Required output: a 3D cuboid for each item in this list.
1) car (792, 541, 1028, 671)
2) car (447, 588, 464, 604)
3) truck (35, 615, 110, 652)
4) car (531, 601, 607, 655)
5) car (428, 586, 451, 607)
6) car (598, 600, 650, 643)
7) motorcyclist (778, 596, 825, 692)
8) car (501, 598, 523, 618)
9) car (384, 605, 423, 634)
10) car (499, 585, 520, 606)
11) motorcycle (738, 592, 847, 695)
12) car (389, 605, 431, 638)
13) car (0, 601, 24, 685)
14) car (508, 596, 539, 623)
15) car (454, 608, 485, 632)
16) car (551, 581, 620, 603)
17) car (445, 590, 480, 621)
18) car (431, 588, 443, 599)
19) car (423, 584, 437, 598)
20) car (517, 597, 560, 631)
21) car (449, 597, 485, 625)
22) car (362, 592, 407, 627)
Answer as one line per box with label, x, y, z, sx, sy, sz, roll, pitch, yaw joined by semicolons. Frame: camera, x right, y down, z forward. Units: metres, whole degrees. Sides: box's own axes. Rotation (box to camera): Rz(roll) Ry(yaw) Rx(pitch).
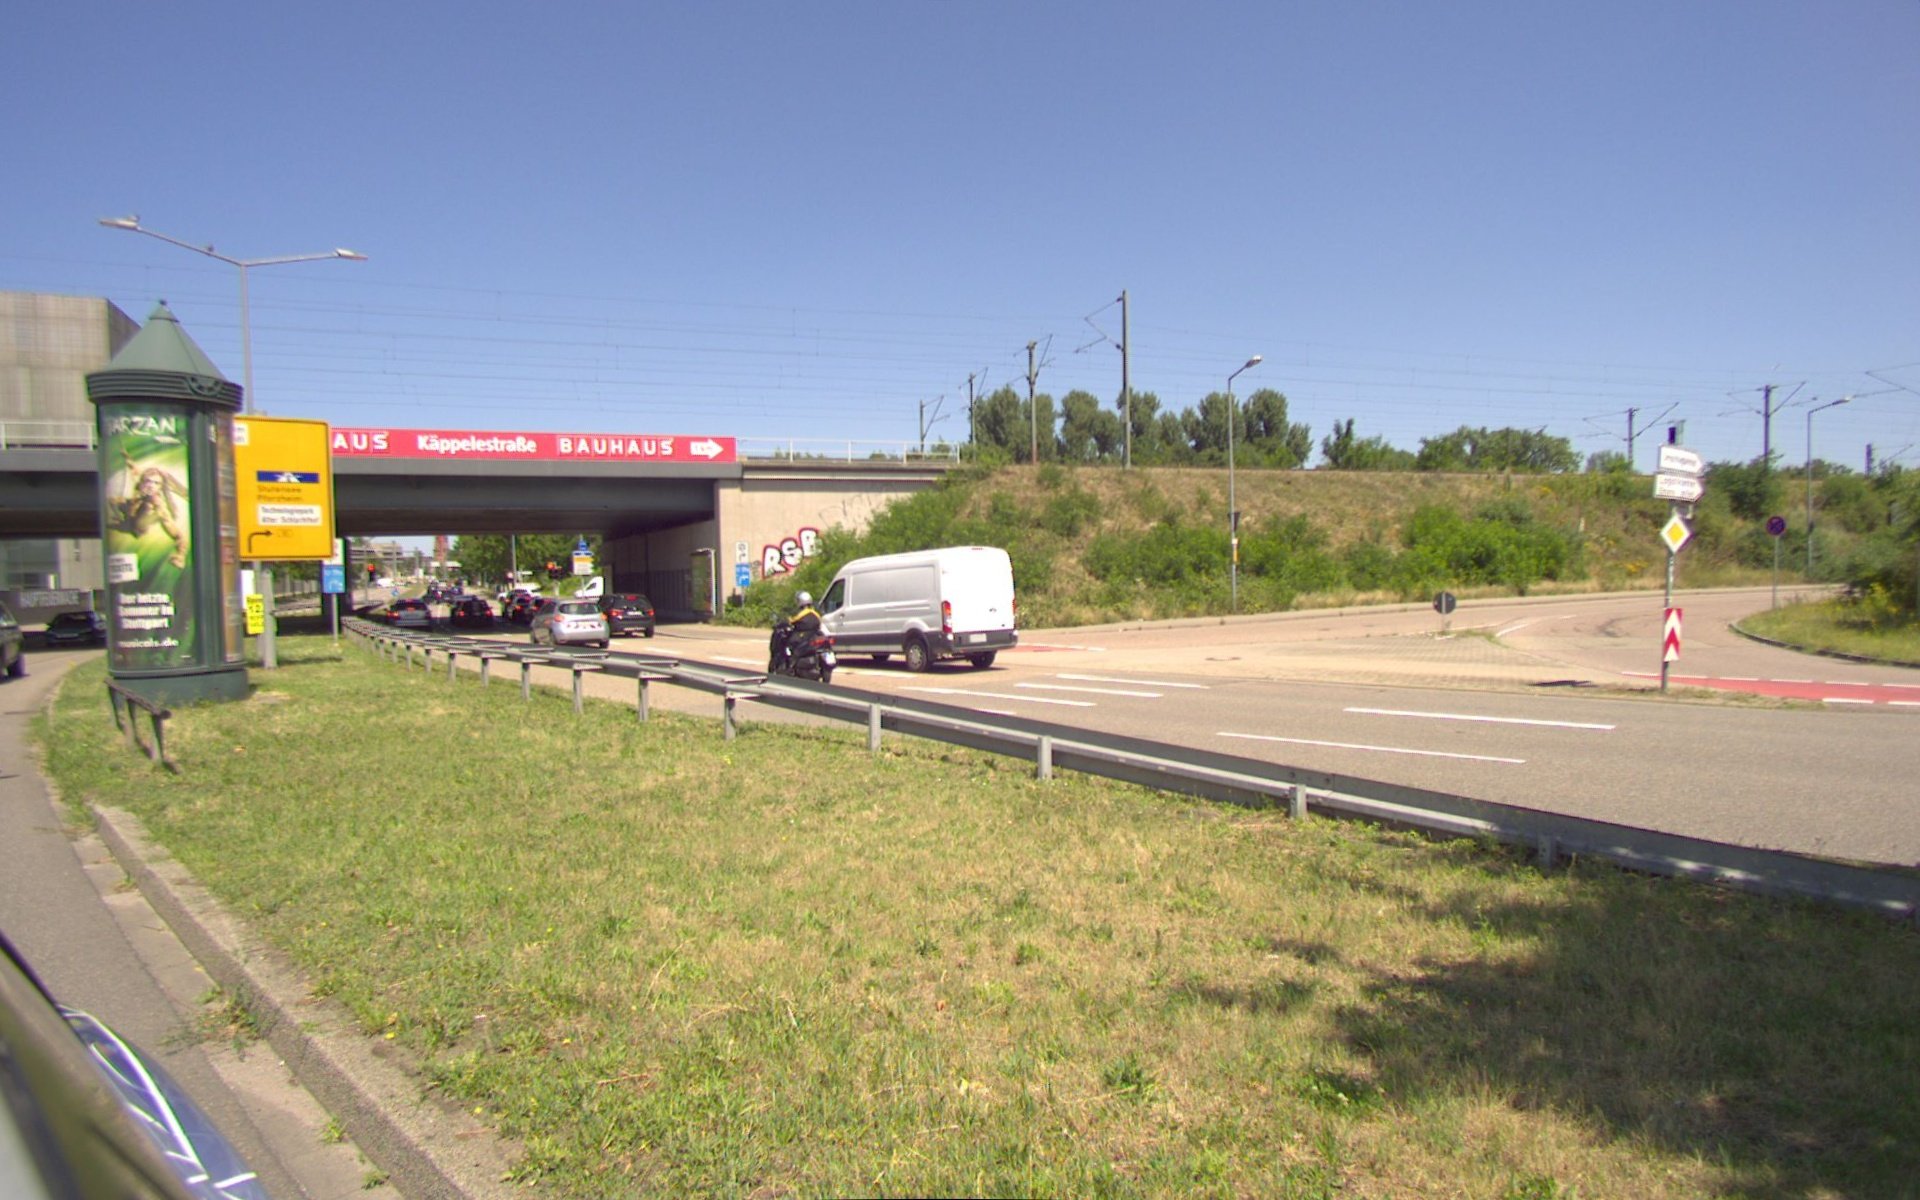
car;-1.298;0.222;22.566;2.068;2.519;5.818;0;-2;-41
car;-65.981;-0.558;132.423;1.809;2.029;4.013;-1;0;-29
truck;-39.361;1.446;44.969;1.703;1.513;4.012;-1;0;-30
car;-12.409;0.855;31.980;1.611;1.579;4.085;0;-1;-30
car;-50.910;-0.329;98.943;1.965;2.029;4.013;-1;0;-27
car;-13.031;0.801;39.135;1.493;1.553;3.692;-1;0;-25
motorcyclist;-2.774;0.753;17.696;0.580;1.638;0.563;-1;0;-44
car;-28.716;0.513;64.937;1.166;1.257;2.701;-1;0;-22
car;-28.004;0.966;51.012;1.388;1.329;3.272;-1;0;-23
car;-45.459;-0.457;102.064;1.678;2.029;4.013;-1;0;-27
motorcycle;-2.994;0.731;17.889;0.591;1.691;2.427;-1;0;-44
car;-25.008;0.946;45.972;1.611;1.413;4.235;0;-1;-29
car;-20.782;0.903;20.756;1.816;1.708;3.709;-1;1;-35
car;-25.476;0.547;59.163;1.548;1.514;3.418;-1;0;-22
car;-25.676;1.020;53.016;1.250;1.194;2.787;-1;0;-22
car;-36.812;-0.799;99.542;6.273;2.118;2.007;-1;0;-20
car;-31.401;0.335;63.919;1.875;1.874;4.013;-1;0;-26
car;-104.723;-1.258;202.573;1.965;2.029;4.013;-1;0;-28
car;-79.421;-1.360;151.666;1.809;2.029;4.013;-1;0;-29
car;-22.507;0.727;53.964;1.747;1.680;4.027;-1;0;-28
car;-28.296;0.604;58.109;1.592;1.487;3.444;-1;0;-22
car;-32.081;0.506;56.500;1.875;1.874;4.013;-1;0;-26
